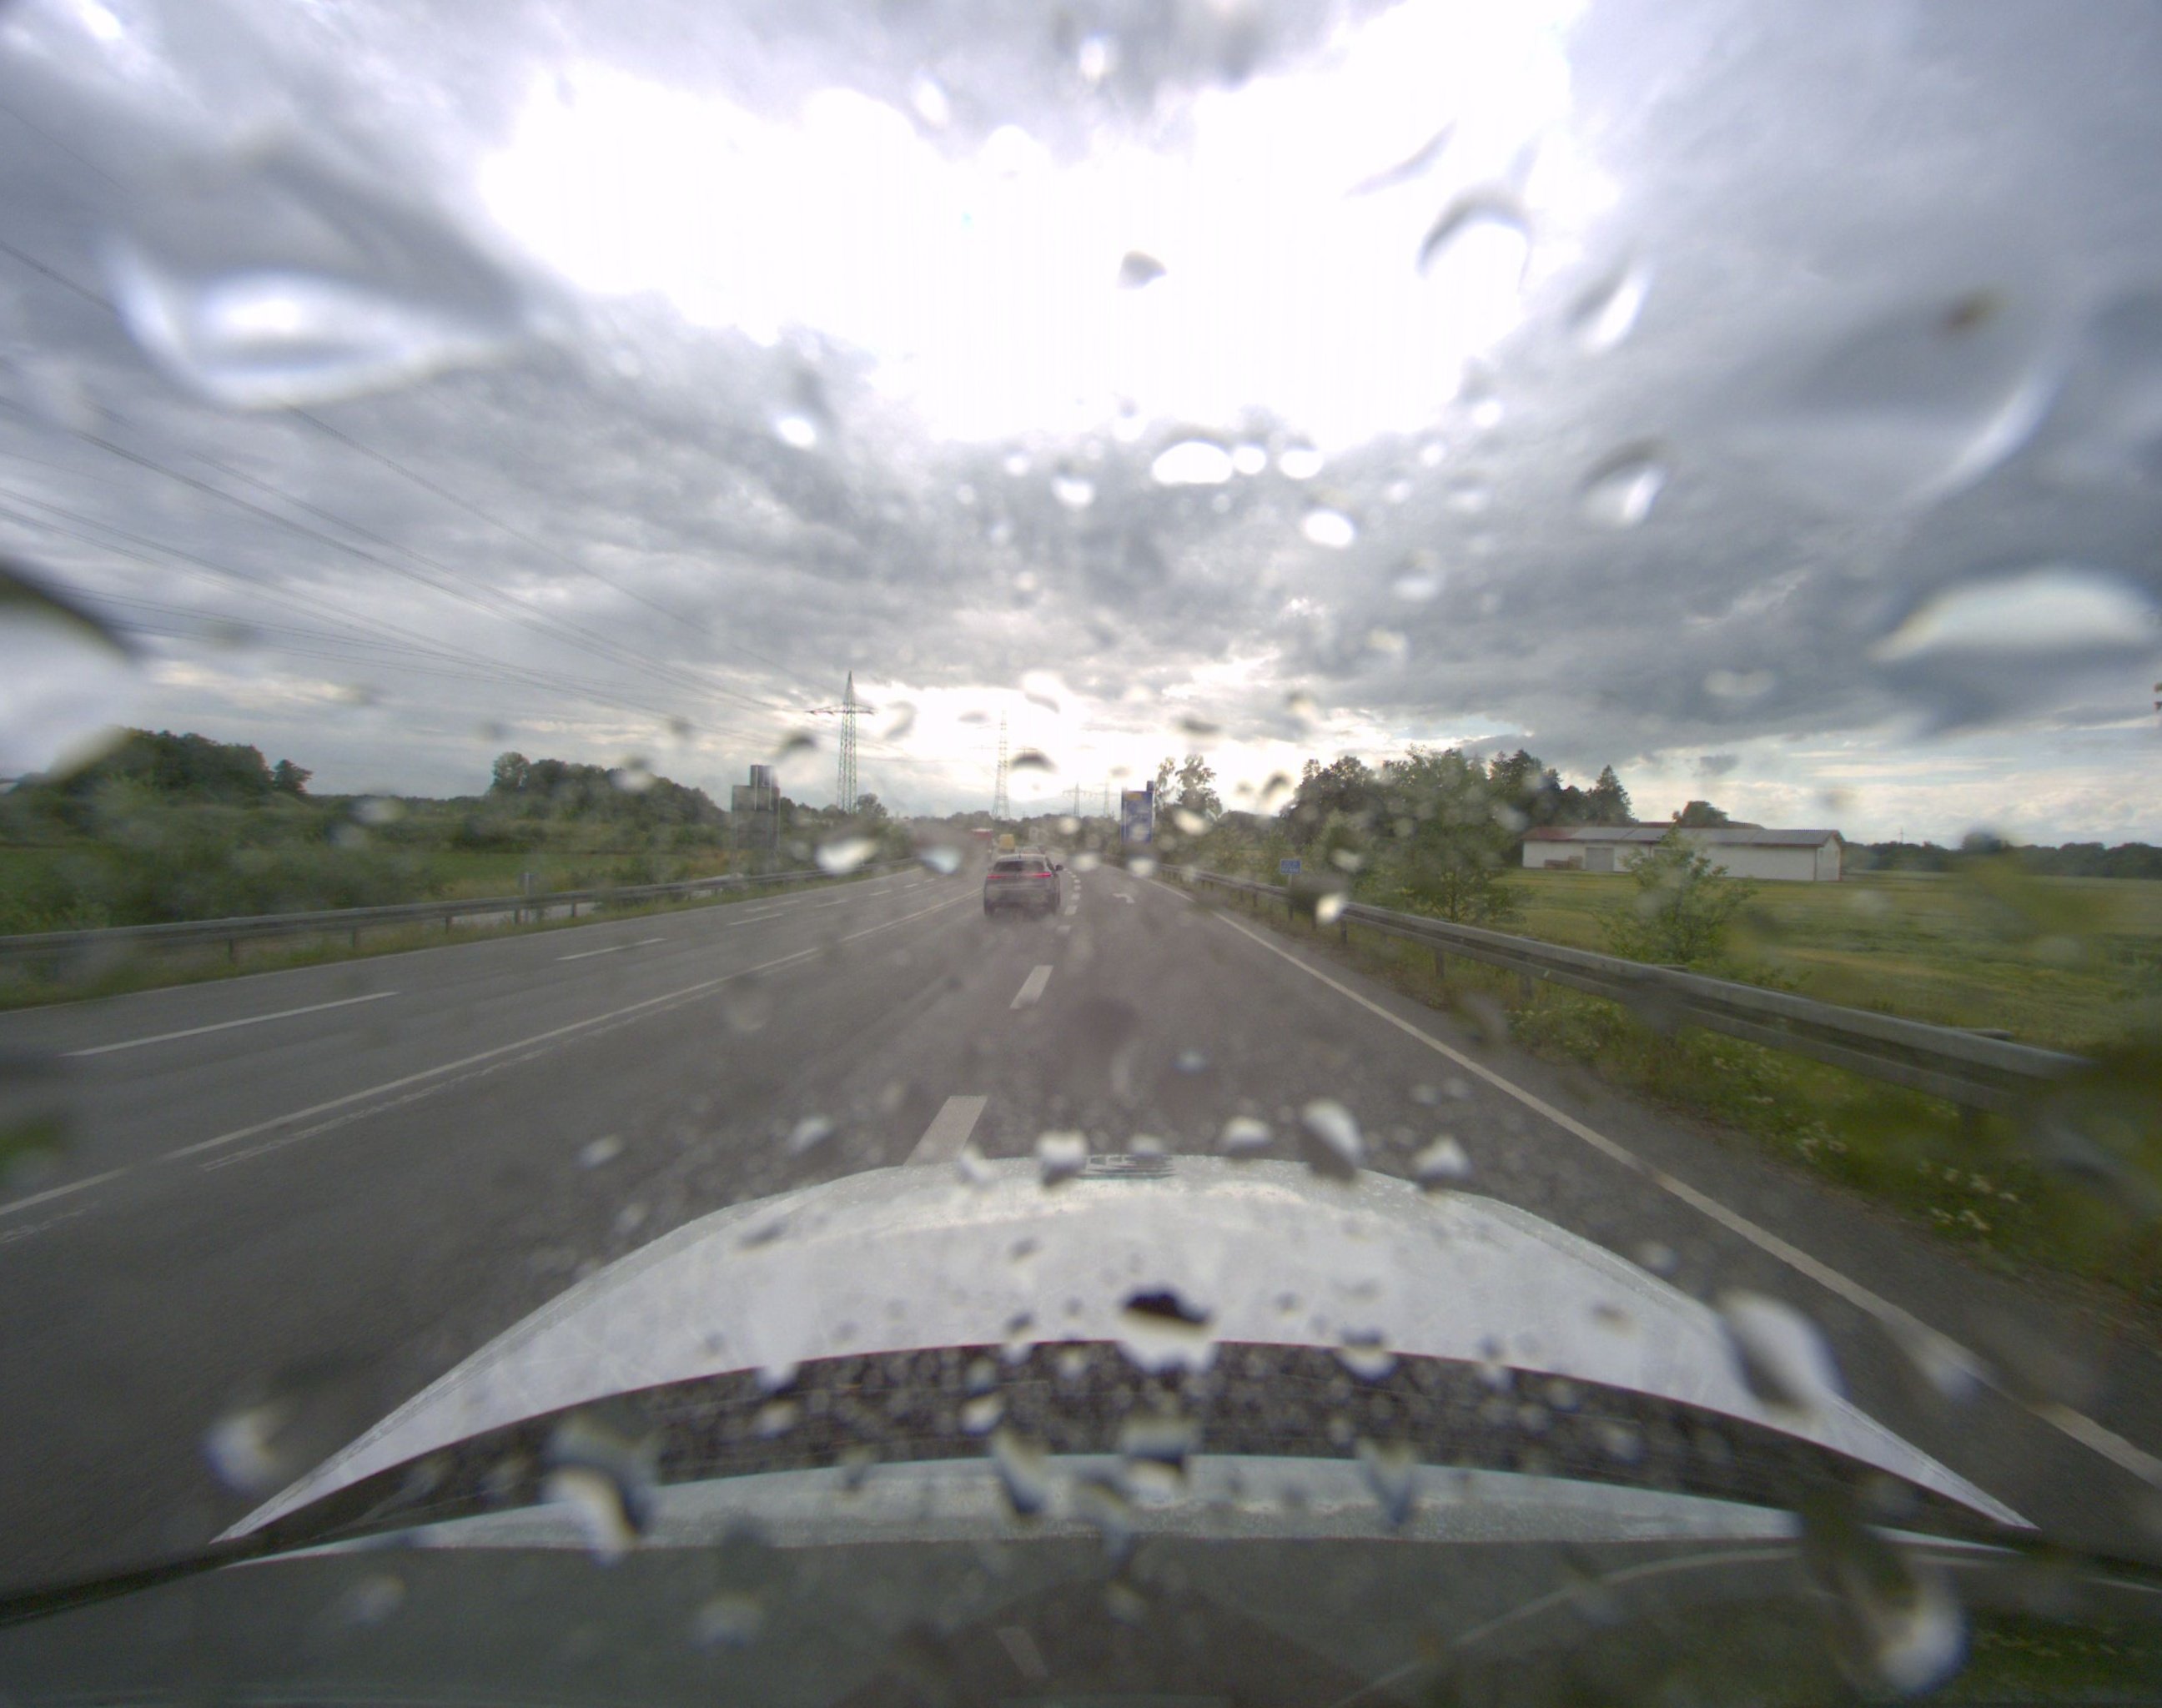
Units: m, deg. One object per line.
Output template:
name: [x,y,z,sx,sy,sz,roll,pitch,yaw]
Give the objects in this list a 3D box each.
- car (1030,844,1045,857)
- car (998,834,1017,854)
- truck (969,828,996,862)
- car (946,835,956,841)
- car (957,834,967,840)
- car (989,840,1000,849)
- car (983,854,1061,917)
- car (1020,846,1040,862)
car: [-5.457,-0.454,101.516,1.787,1.541,3.996,-2,0,-3]
car: [-10.604,-1.404,118.063,2.568,2.725,7.187,-2,1,-4]
truck: [-10.177,-0.996,84.676,2.477,3.291,7.266,-2,1,-6]
car: [-30.659,-3.742,191.694,1.796,1.441,3.976,3,0,-18]
car: [-29.460,-4.225,201.229,1.803,1.574,4.237,2,1,-16]
car: [-15.178,-1.683,142.325,1.790,1.441,3.990,-2,0,-7]
car: [-1.446,0.750,21.283,1.786,1.441,3.998,0,0,-1]
car: [-4.717,0.023,75.629,1.788,1.441,3.994,0,1,-4]
